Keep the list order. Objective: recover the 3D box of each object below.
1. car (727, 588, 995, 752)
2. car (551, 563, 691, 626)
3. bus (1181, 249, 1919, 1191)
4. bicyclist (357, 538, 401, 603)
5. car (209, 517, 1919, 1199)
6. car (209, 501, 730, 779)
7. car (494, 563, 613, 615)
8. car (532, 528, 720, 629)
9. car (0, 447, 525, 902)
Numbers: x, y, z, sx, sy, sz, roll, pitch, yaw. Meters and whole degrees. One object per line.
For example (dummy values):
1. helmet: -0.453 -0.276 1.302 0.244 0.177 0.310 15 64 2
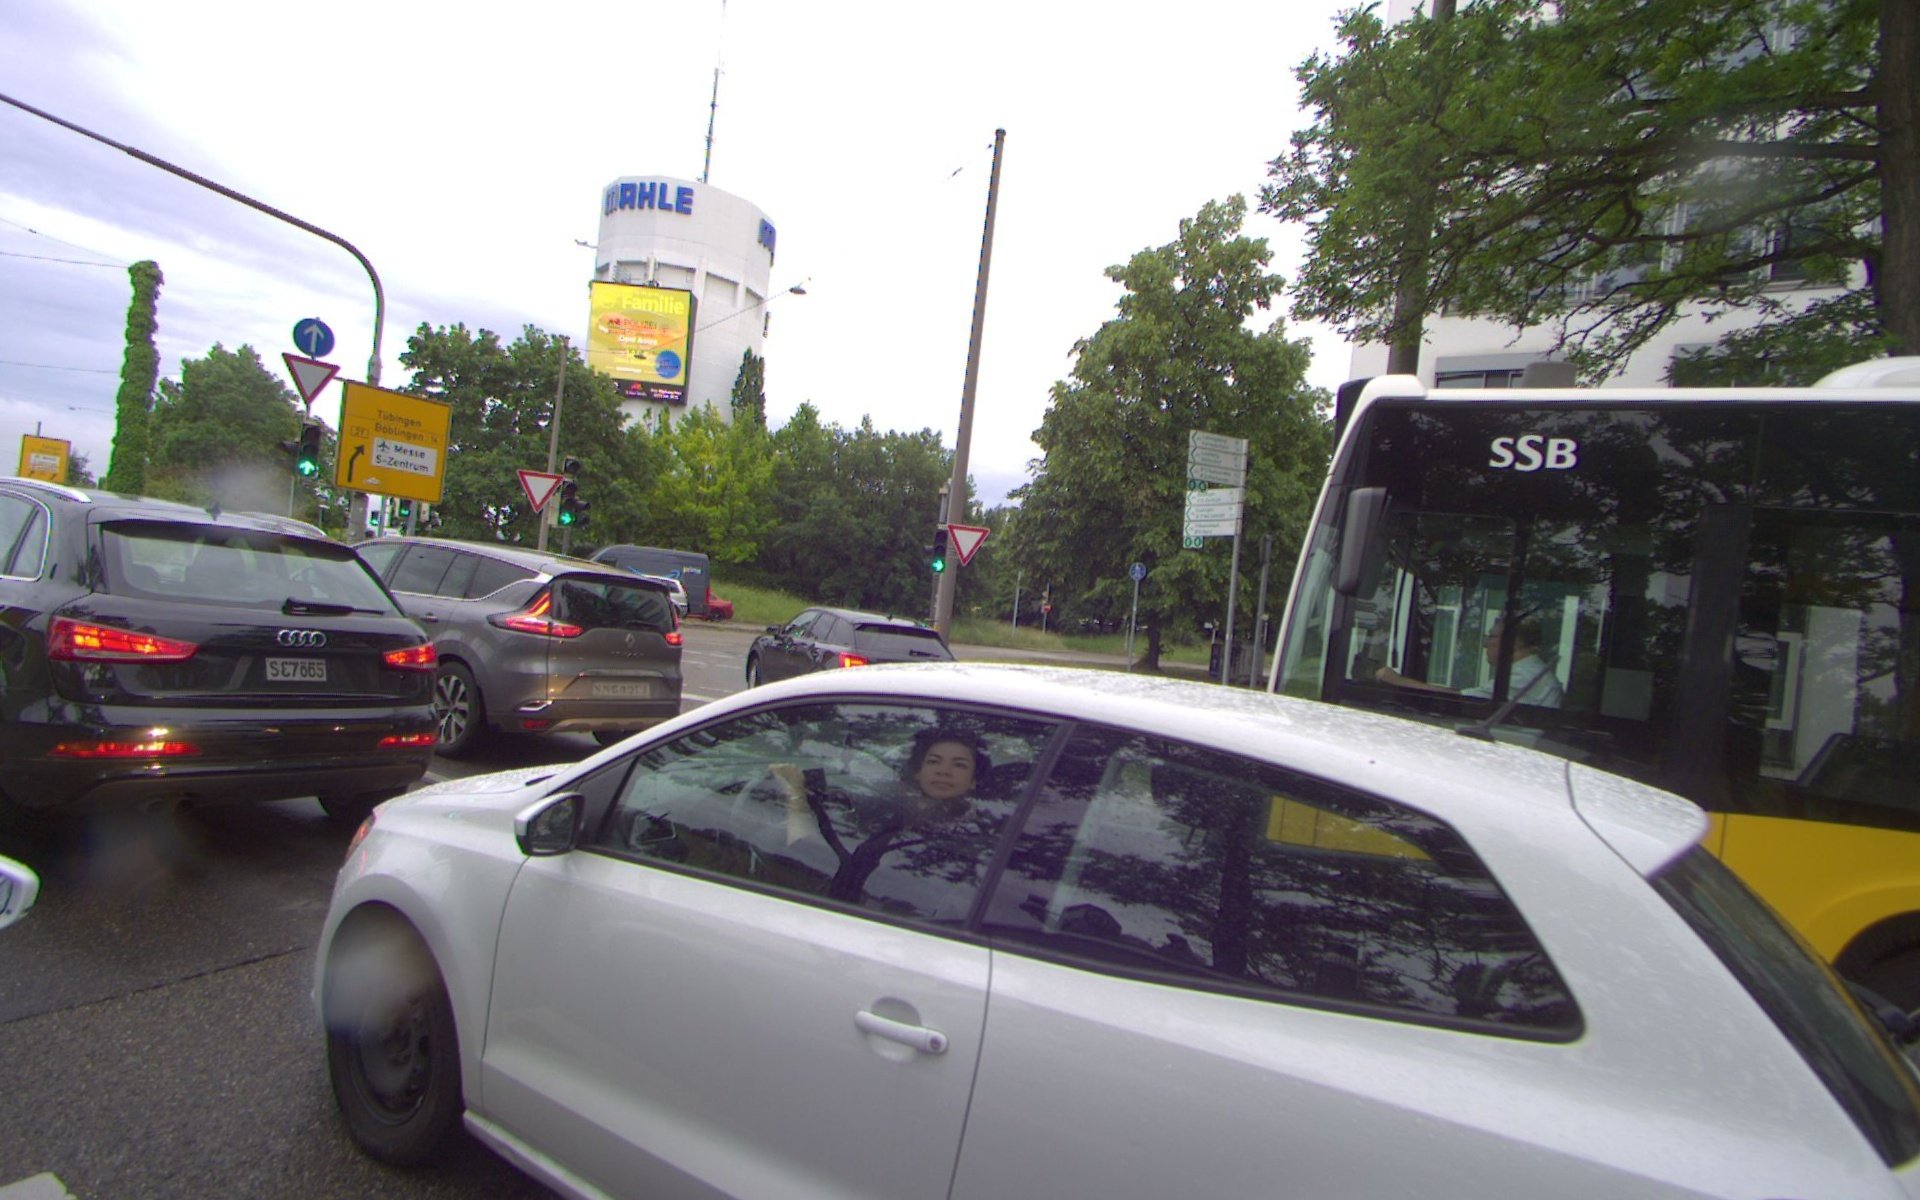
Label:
1. car: -1.458 0.800 12.984 1.849 1.517 4.119 5 1 -29
2. car: -11.432 -0.161 34.003 4.027 1.586 1.854 9 -4 -36
3. bus: 6.980 0.896 2.735 11.943 3.187 2.733 7 -2 31
4. bicyclist: -15.405 -0.774 26.685 0.803 1.602 1.015 9 -2 -32
5. car: -0.033 0.740 2.633 3.749 1.448 1.745 6 -3 32
6. car: -4.482 0.257 9.018 4.488 1.694 1.869 7 -1 30
7. car: -16.853 -0.448 41.753 4.112 1.582 1.852 9 -2 -38
8. car: -12.109 -0.698 36.666 5.972 2.772 2.065 8 -3 -33
9. car: -4.547 0.192 5.422 4.045 1.613 1.889 6 -3 31
